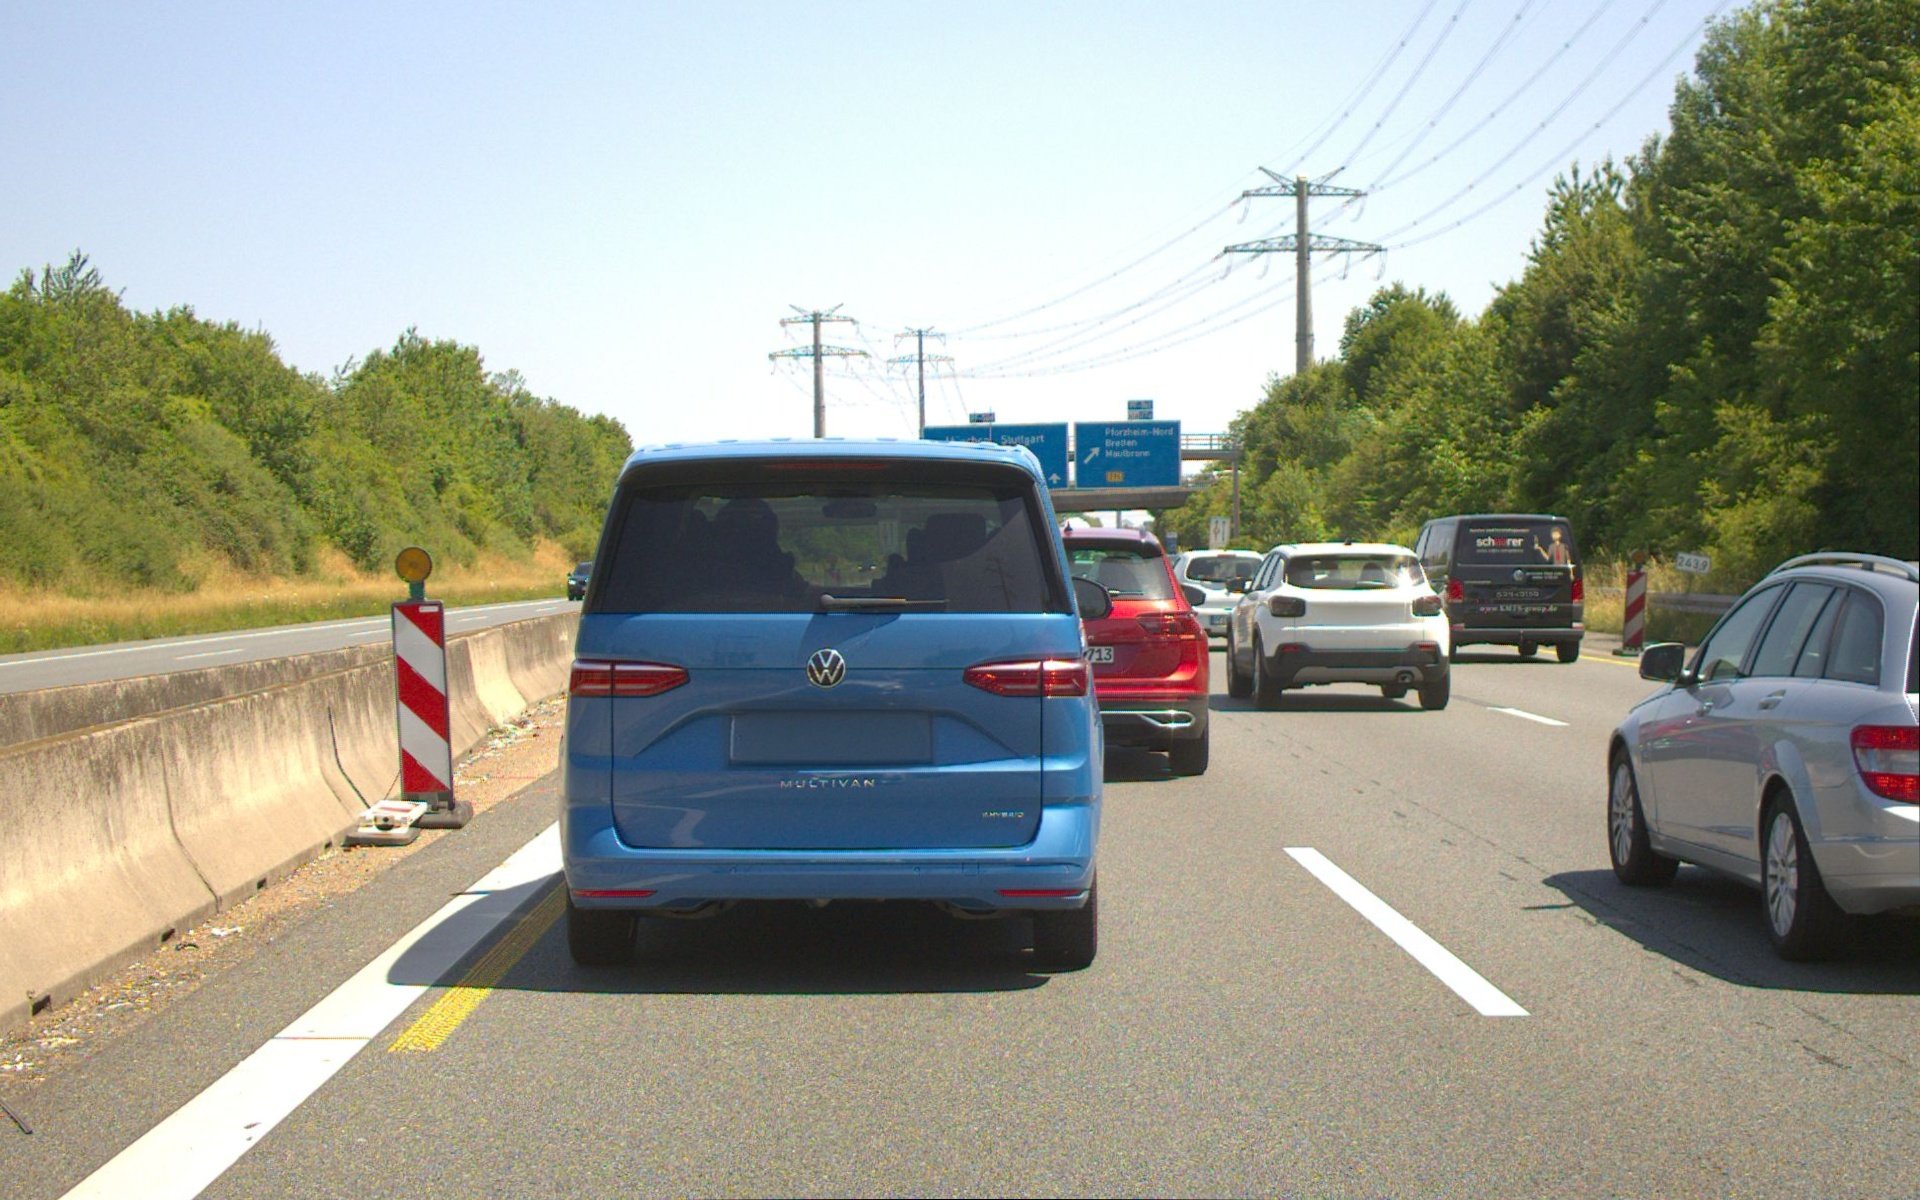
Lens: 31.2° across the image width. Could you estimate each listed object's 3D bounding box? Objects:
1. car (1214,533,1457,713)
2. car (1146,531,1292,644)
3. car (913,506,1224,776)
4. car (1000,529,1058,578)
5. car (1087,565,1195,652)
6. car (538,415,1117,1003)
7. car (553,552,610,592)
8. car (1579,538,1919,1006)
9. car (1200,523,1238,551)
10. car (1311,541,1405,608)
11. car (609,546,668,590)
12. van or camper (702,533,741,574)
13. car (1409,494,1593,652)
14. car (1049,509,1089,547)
[{"bbox_3d":[3.528,0.179,32.962,1.797,1.588,4.227,1,1,-1],"label":"car"},{"bbox_3d":[3.841,-0.207,51.536,1.797,1.588,4.227,1,1,-1],"label":"car"},{"bbox_3d":[0.653,0.234,23.733,1.874,1.665,4.360,1,1,-1],"label":"car"},{"bbox_3d":[2.314,-1.565,115.484,1.797,1.588,4.227,1,1,-1],"label":"car"},{"bbox_3d":[3.457,0.136,66.189,1.797,1.588,4.227,1,1,-1],"label":"car"},{"bbox_3d":[-0.487,0.332,13.475,1.874,1.905,4.360,1,1,-1],"label":"car"},{"bbox_3d":[-16.896,-1.285,153.816,1.993,1.644,4.630,-3,1,0],"label":"car"},{"bbox_3d":[3.741,0.542,13.326,1.770,1.512,4.360,1,1,-1],"label":"car"},{"bbox_3d":[15.698,-3.803,208.379,1.874,1.665,4.360,1,1,-1],"label":"car"},{"bbox_3d":[9.866,-0.647,85.456,1.797,1.588,4.227,1,1,-1],"label":"car"},{"bbox_3d":[-12.938,-1.302,138.714,1.993,1.656,4.230,-1,1,-1],"label":"car"},{"bbox_3d":[-16.463,-3.190,237.416,2.222,2.701,7.081,-3,1,-2],"label":"van or camper"},{"bbox_3d":[7.236,-0.371,46.350,1.797,2.007,4.227,1,1,0],"label":"car"},{"bbox_3d":[7.137,-4.728,225.746,2.377,2.420,4.227,1,1,-1],"label":"car"}]
